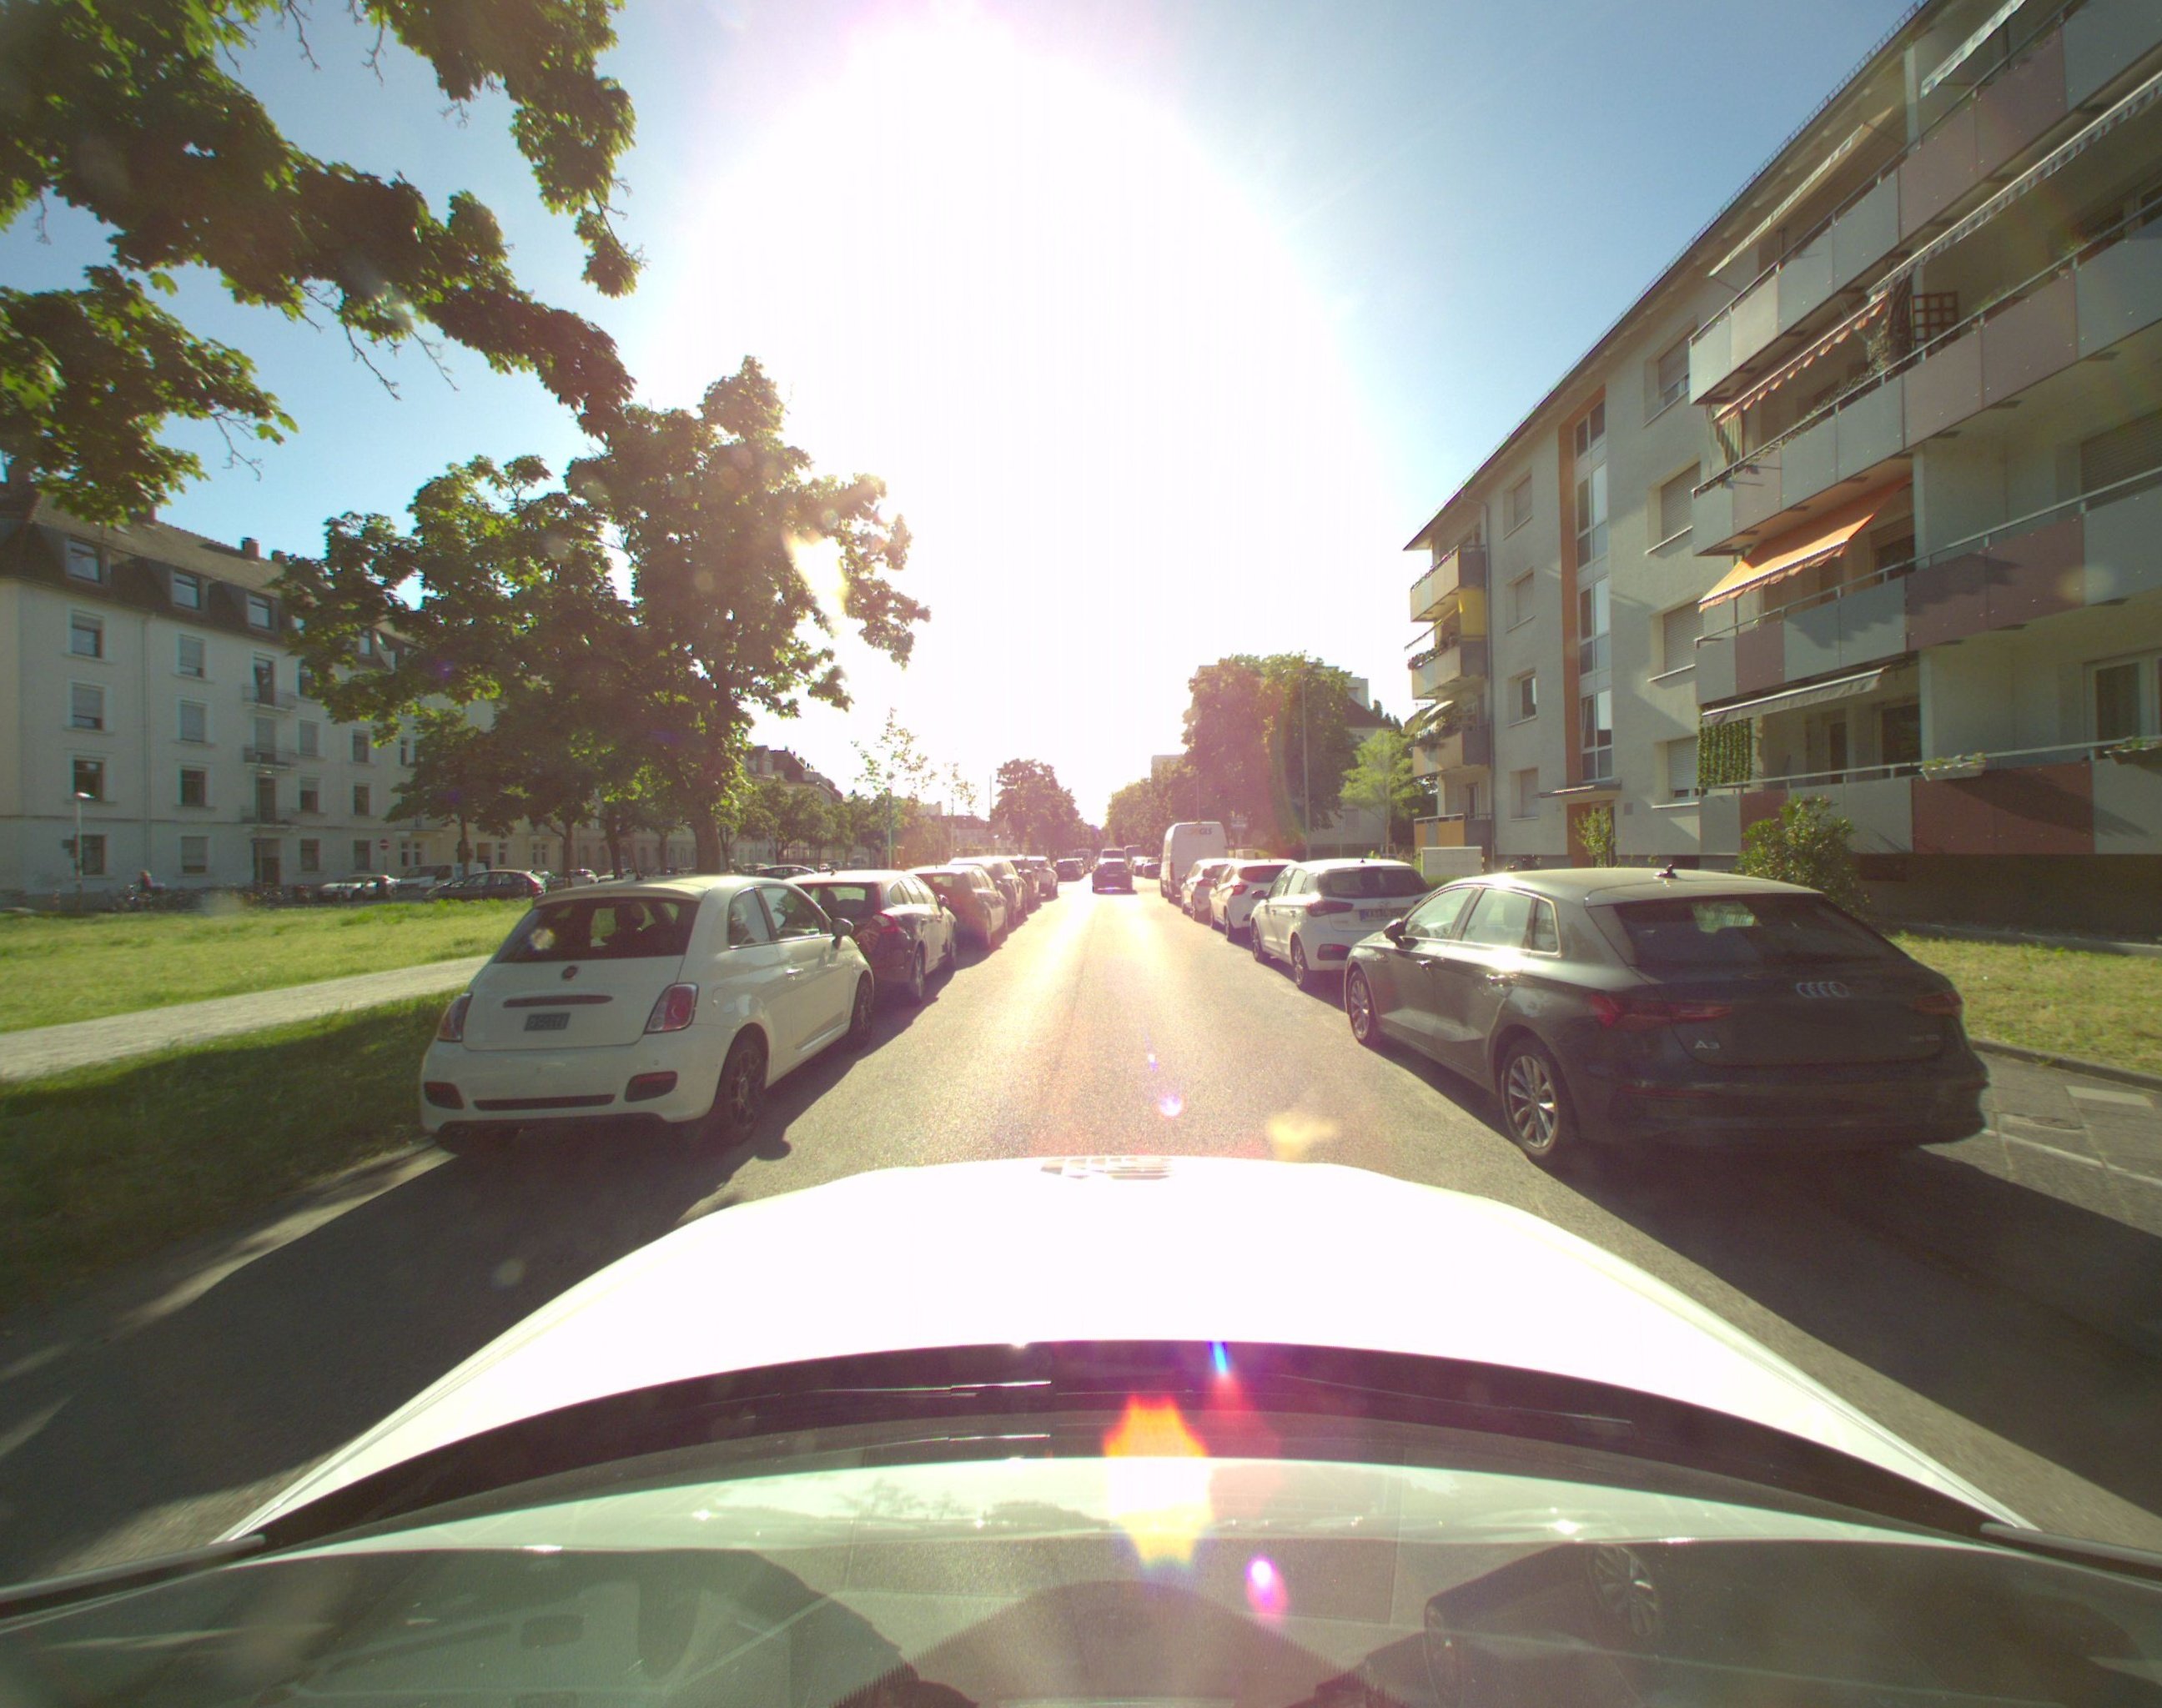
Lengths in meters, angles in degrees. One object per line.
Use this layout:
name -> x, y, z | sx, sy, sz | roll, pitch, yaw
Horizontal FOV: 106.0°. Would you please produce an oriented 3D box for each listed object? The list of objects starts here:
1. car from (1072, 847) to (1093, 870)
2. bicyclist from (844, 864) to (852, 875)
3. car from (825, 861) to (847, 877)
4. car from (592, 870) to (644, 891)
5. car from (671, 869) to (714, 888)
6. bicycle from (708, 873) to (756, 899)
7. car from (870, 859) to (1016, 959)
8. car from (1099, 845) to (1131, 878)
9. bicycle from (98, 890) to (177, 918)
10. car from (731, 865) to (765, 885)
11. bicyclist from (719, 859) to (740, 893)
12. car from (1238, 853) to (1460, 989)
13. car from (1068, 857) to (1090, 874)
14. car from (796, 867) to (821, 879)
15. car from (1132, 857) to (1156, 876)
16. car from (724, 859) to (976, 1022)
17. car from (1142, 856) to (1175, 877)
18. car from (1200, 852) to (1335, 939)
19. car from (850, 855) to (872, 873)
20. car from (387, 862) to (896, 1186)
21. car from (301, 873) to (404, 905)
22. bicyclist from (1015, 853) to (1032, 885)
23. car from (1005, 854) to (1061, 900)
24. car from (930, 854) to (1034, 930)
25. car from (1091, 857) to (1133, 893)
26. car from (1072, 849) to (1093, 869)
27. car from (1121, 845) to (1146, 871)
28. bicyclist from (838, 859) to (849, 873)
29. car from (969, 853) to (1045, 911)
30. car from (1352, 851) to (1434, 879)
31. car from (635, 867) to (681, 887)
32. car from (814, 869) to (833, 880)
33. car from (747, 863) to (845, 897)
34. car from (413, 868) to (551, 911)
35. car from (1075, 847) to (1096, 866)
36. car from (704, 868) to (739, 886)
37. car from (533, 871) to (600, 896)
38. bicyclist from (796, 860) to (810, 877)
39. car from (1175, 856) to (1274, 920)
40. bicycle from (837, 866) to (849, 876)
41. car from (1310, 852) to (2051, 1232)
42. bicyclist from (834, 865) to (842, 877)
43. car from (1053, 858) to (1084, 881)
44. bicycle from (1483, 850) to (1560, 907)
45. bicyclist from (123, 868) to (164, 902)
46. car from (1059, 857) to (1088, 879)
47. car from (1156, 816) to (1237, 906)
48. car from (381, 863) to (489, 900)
car -> 0.212, 0.468, 92.303 | 2.090, 2.496, 4.130 | -1, 0, 3
bicyclist -> -29.839, 2.017, 104.366 | 0.735, 1.437, 0.943 | -2, -1, 1
car -> -34.373, 2.049, 114.410 | 1.689, 2.214, 5.006 | -1, 0, -1
car -> -35.758, 2.023, 62.977 | 1.689, 1.526, 4.079 | -1, 0, -1
car -> -35.494, 2.209, 74.500 | 1.751, 1.549, 4.526 | -1, 0, -1
bicycle -> -17.647, 1.609, 41.273 | 2.153, 1.258, 0.710 | -1, 0, -18
car -> -2.423, 0.912, 15.490 | 1.867, 1.519, 4.470 | -3, 0, 1
car -> 2.229, 0.475, 52.827 | 1.887, 1.991, 4.013 | -3, 0, 3
bicycle -> -38.023, 2.008, 32.833 | 1.984, 1.016, 0.653 | -1, 0, -23
car -> -35.172, 2.187, 86.100 | 1.731, 1.908, 4.459 | -1, 0, -1
bicyclist -> -17.802, 1.091, 41.231 | 0.879, 1.690, 0.628 | -2, 0, -18
car -> 3.309, 0.734, 10.934 | 1.714, 1.435, 4.154 | -2, 0, 2
car -> -0.154, 1.089, 77.419 | 1.825, 1.500, 4.130 | -1, 0, 3
car -> -34.837, 2.363, 104.129 | 1.839, 1.440, 3.776 | -1, 0, 2
car -> 4.980, 0.981, 64.733 | 1.772, 1.371, 4.130 | -1, 0, 3
car -> -2.568, 0.864, 10.321 | 1.749, 1.492, 4.668 | -3, 0, 0
car -> 5.517, 0.891, 58.762 | 2.116, 1.337, 4.509 | -4, 0, 3
car -> 3.566, 0.736, 16.309 | 1.870, 1.475, 4.142 | -2, 0, 2
car -> -34.287, 1.537, 126.873 | 1.910, 2.744, 5.623 | -1, 0, -1
car -> -2.596, 0.856, 5.875 | 1.581, 1.492, 3.685 | -3, 0, 0
car -> -41.767, 1.966, 46.839 | 1.988, 1.586, 4.448 | -1, 0, -2
bicyclist -> -2.938, 0.762, 41.671 | 0.786, 1.596, 0.696 | -1, -1, -1
car -> -1.885, 0.883, 33.120 | 1.749, 1.647, 4.290 | -3, 0, 3
car -> -2.354, 0.851, 20.522 | 1.813, 1.610, 4.741 | -3, 0, 2
car -> 1.440, 0.890, 36.708 | 1.772, 1.531, 4.003 | 0, 0, 3
car -> 0.164, 0.516, 85.889 | 2.090, 1.942, 4.128 | -1, 0, 2
car -> 5.502, 0.421, 86.285 | 2.157, 2.689, 5.413 | -1, 0, -1
bicyclist -> -31.086, 1.557, 106.477 | 0.938, 1.837, 1.449 | -2, -1, 0
car -> -2.308, 0.853, 26.613 | 1.836, 1.638, 4.717 | -3, 0, 2
car -> 17.115, 0.572, 44.753 | 3.877, 1.429, 1.657 | -1, 0, -2
car -> -35.424, 1.878, 68.321 | 1.627, 1.549, 4.353 | -1, 0, -1
car -> -34.353, 2.702, 108.635 | 1.512, 1.440, 3.230 | -1, 0, -1
car -> -13.749, 1.218, 39.333 | 4.352, 1.409, 1.906 | -1, 2, -23
car -> -25.349, 1.473, 34.683 | 4.352, 1.576, 1.914 | -2, 0, -23
car -> 0.717, 0.336, 117.766 | 2.606, 2.645, 6.119 | -1, 0, 3
car -> -35.303, 2.232, 80.053 | 1.627, 1.686, 4.079 | -1, 0, -1
car -> -35.878, 2.003, 56.910 | 1.689, 1.561, 4.696 | -1, 0, -1
bicyclist -> -31.565, 1.679, 92.544 | 0.938, 1.837, 1.450 | -2, -1, 2
car -> 3.572, 0.790, 20.997 | 1.843, 1.466, 4.202 | 0, 0, 0
bicycle -> -31.128, 2.277, 106.458 | 0.807, 1.252, 2.633 | 1, -2, 0
car -> 3.035, 0.761, 5.506 | 1.694, 1.435, 4.471 | -3, 0, 0
bicyclist -> -31.057, 2.193, 104.039 | 0.735, 1.437, 0.943 | -1, 0, 1
car -> -0.787, 1.034, 55.170 | 1.741, 1.425, 3.919 | -3, -1, 3
bicycle -> 9.599, 0.537, 17.828 | 0.593, 1.176, 2.014 | -1, -2, 1
bicyclist -> -37.862, 1.240, 32.897 | 0.879, 1.364, 0.618 | -1, 0, -24
car -> -0.525, 1.023, 59.688 | 1.770, 1.495, 3.877 | -3, -1, 3
car -> 3.932, 0.220, 28.969 | 2.134, 2.713, 6.847 | -3, 0, 3
car -> -36.516, 1.497, 46.237 | 2.075, 1.872, 5.096 | -1, 0, -1
